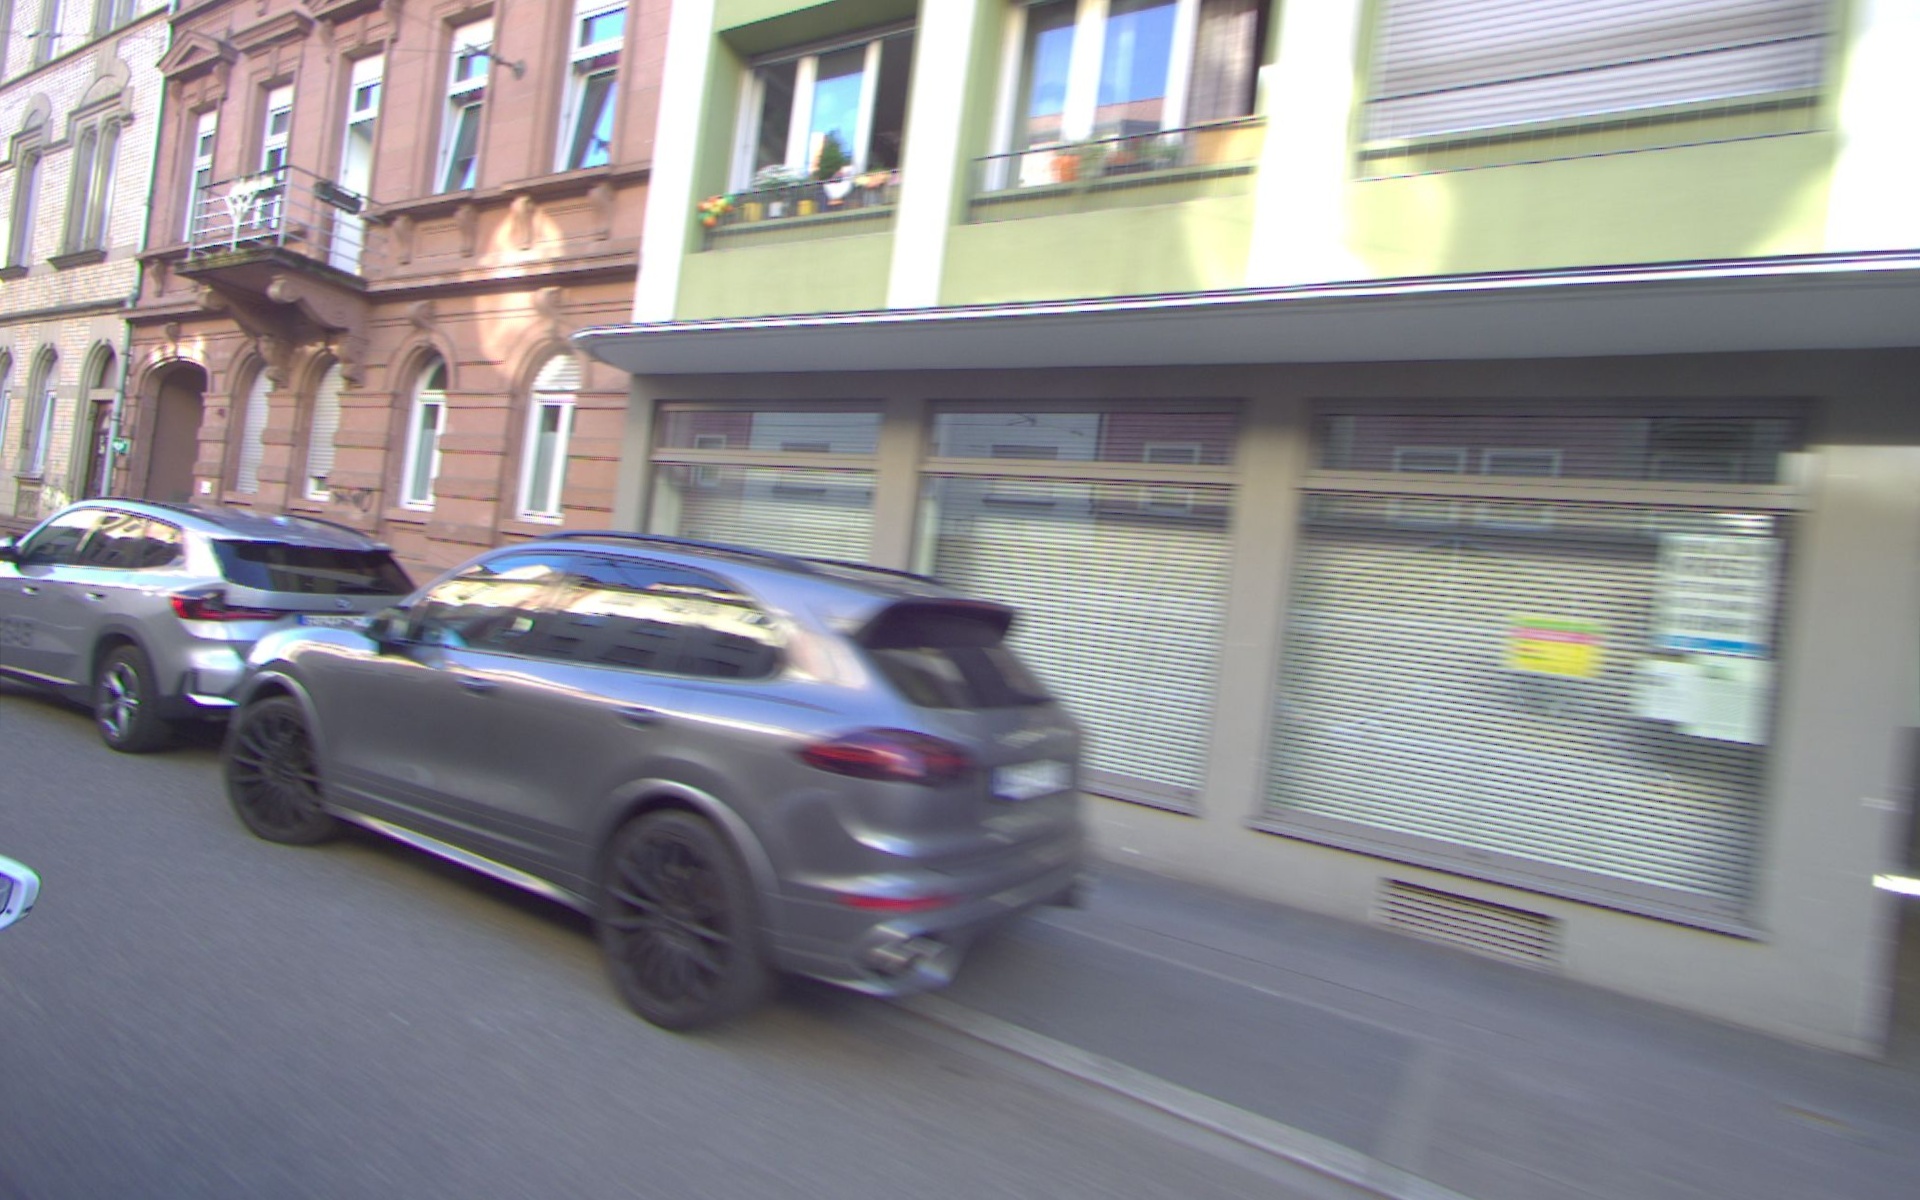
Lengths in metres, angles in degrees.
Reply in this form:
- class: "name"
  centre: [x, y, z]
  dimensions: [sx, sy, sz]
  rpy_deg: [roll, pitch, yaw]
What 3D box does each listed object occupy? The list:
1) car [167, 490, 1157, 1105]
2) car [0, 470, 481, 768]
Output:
- class: "car"
  centre: [-1.676, 0.489, 5.006]
  dimensions: [4.706, 1.637, 1.994]
  rpy_deg: [6, 2, 31]
- class: "car"
  centre: [-6.064, 0.042, 7.790]
  dimensions: [4.324, 1.665, 1.871]
  rpy_deg: [7, -2, 27]
